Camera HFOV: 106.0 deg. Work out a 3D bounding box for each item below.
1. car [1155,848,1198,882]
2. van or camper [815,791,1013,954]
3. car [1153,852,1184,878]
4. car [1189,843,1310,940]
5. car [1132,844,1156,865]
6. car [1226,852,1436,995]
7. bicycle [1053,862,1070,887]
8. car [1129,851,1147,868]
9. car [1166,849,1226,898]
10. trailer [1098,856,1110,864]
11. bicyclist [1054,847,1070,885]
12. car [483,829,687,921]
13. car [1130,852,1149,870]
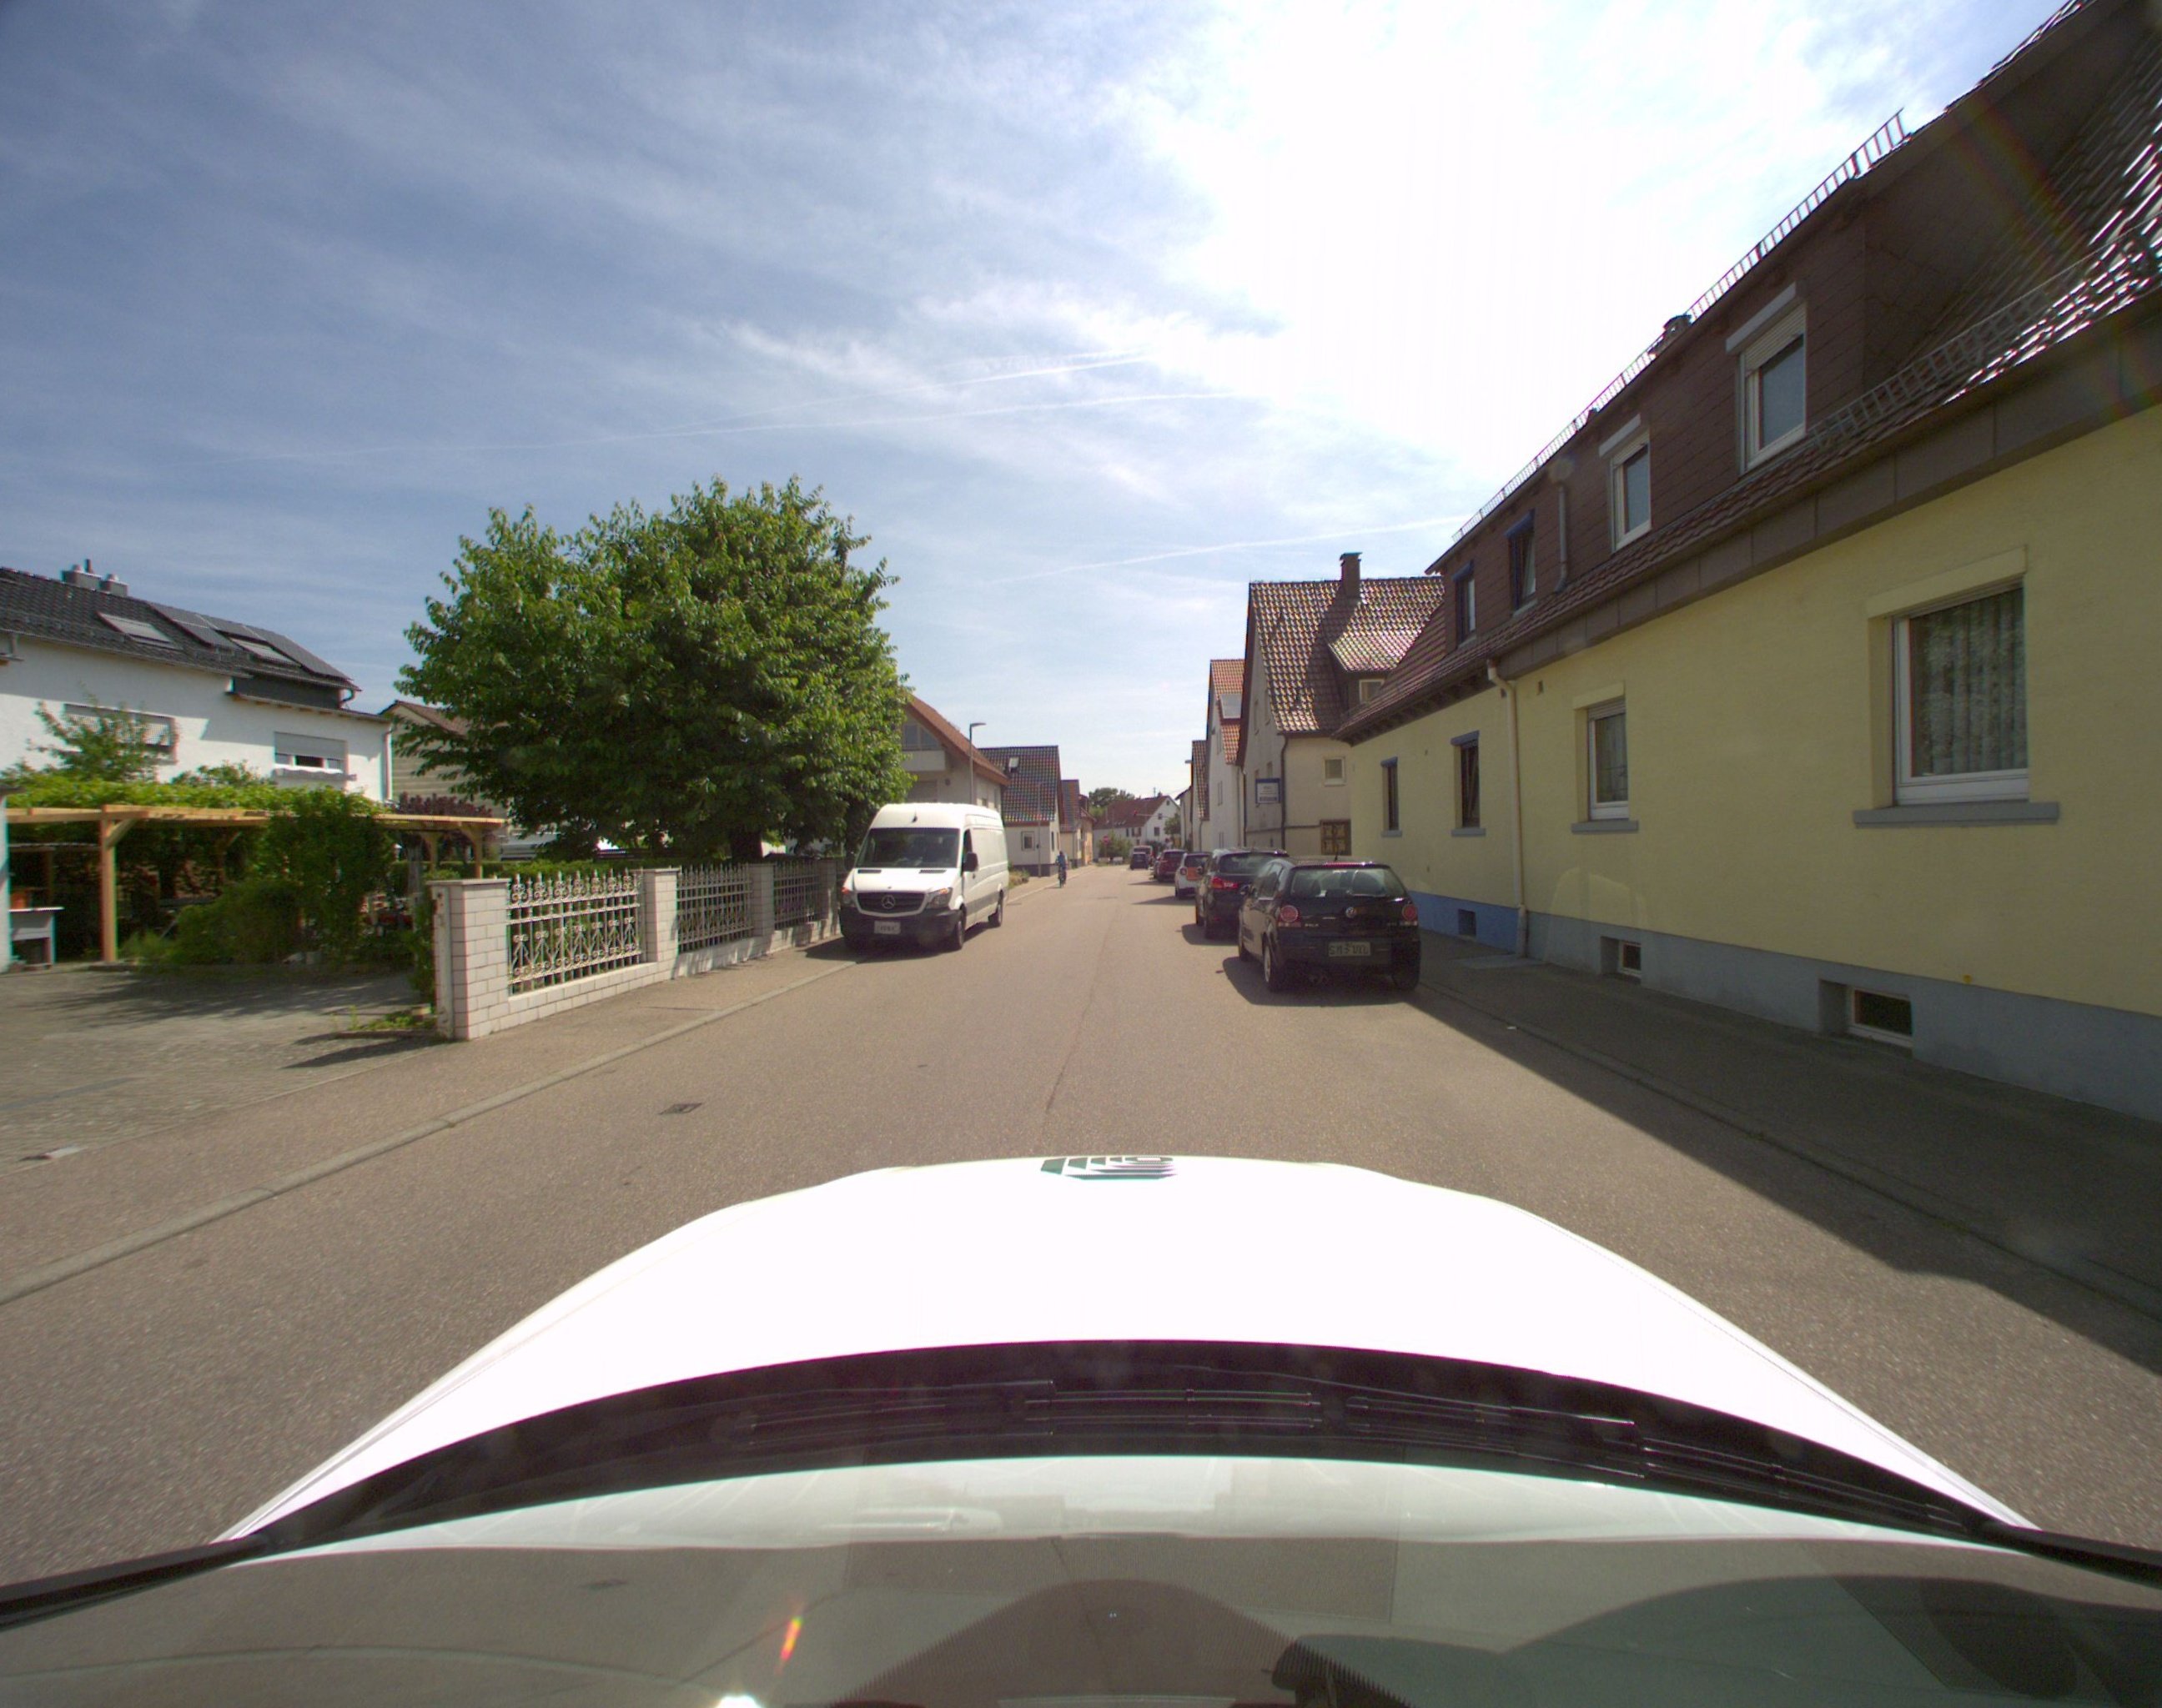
[{"bbox_3d":[4.930,0.532,42.604,1.868,1.700,4.184,-1,0,1],"label":"car"},{"bbox_3d":[-2.924,0.282,16.274,2.175,2.571,6.813,-1,0,3],"label":"van or camper"},{"bbox_3d":[5.217,0.636,48.891,1.755,1.424,4.598,-1,0,5],"label":"car"},{"bbox_3d":[3.103,0.624,15.767,1.721,1.599,4.258,-1,0,4],"label":"car"},{"bbox_3d":[6.829,0.085,88.006,2.116,2.158,4.749,-2,0,9],"label":"car"},{"bbox_3d":[2.860,0.702,10.128,1.604,1.431,3.756,-1,0,3],"label":"car"},{"bbox_3d":[-0.935,0.982,39.588,0.667,1.132,2.190,-1,0,2],"label":"bicycle"},{"bbox_3d":[5.561,0.546,78.996,1.508,1.624,3.190,-1,0,7],"label":"car"},{"bbox_3d":[3.849,0.633,27.696,1.667,1.559,3.041,-1,0,1],"label":"car"},{"bbox_3d":[2.919,0.778,103.893,1.494,0.927,1.014,0,0,5],"label":"trailer"},{"bbox_3d":[-0.919,0.563,39.503,0.710,1.799,0.942,-1,0,1],"label":"bicyclist"},{"bbox_3d":[-14.642,0.610,24.212,4.784,2.492,1.966,-2,0,2],"label":"car"},{"bbox_3d":[5.325,0.645,73.760,1.508,1.567,3.190,-1,0,7],"label":"car"}]
